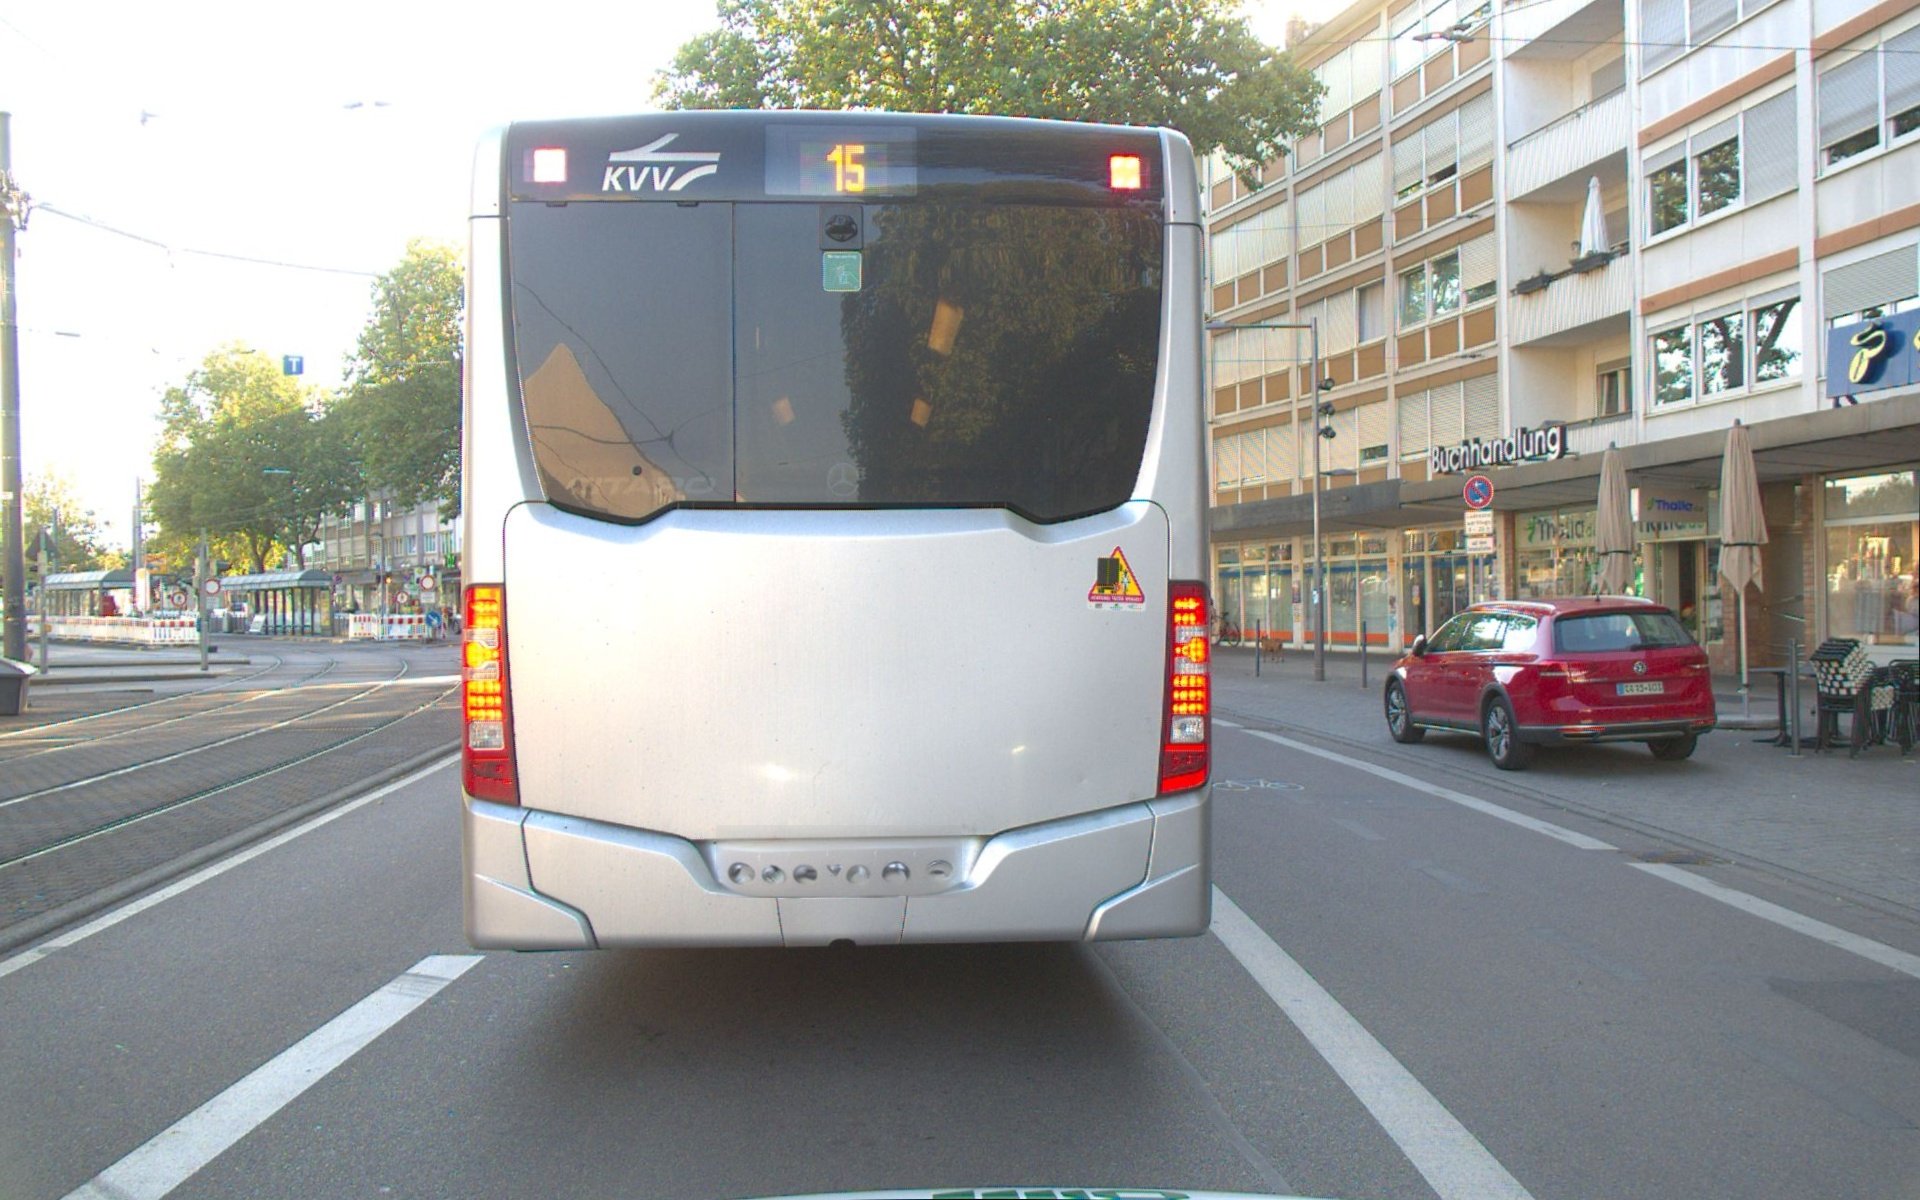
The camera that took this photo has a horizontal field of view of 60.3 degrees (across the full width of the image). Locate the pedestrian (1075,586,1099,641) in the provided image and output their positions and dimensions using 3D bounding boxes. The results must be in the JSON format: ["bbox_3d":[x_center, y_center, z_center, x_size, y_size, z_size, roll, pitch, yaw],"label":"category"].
[{"bbox_3d":[3.885,0.419,50.605,0.527,1.677,0.612,-1,0,-18],"label":"pedestrian"}]

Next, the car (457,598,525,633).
[{"bbox_3d":[-24.820,0.815,87.478,1.982,1.823,3.940,1,-1,-41],"label":"car"}]

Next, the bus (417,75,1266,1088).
[{"bbox_3d":[-0.433,-0.045,10.058,2.577,3.081,9.995,0,0,-1],"label":"bus"}]

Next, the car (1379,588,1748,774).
[{"bbox_3d":[5.687,0.687,16.221,1.735,1.508,4.299,-2,0,-4],"label":"car"}]

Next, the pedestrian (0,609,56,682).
[{"bbox_3d":[-22.085,1.077,39.218,0.977,1.716,0.642,0,-2,-13],"label":"pedestrian"}]

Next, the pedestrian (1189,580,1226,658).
[{"bbox_3d":[5.667,0.431,37.820,0.634,1.747,0.557,-1,0,-17],"label":"pedestrian"}]

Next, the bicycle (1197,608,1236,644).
[{"bbox_3d":[7.152,0.717,46.099,0.406,0.961,1.431,-1,0,-21],"label":"bicycle"}]

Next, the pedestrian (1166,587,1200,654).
[{"bbox_3d":[5.480,0.501,40.669,0.634,1.609,0.557,-1,0,-17],"label":"pedestrian"}]

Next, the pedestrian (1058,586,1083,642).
[{"bbox_3d":[3.345,0.431,50.116,0.527,1.677,0.612,-1,0,-18],"label":"pedestrian"}]

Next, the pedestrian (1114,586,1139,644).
[{"bbox_3d":[4.872,0.438,48.409,0.527,1.677,0.612,-1,0,-18],"label":"pedestrian"}]
